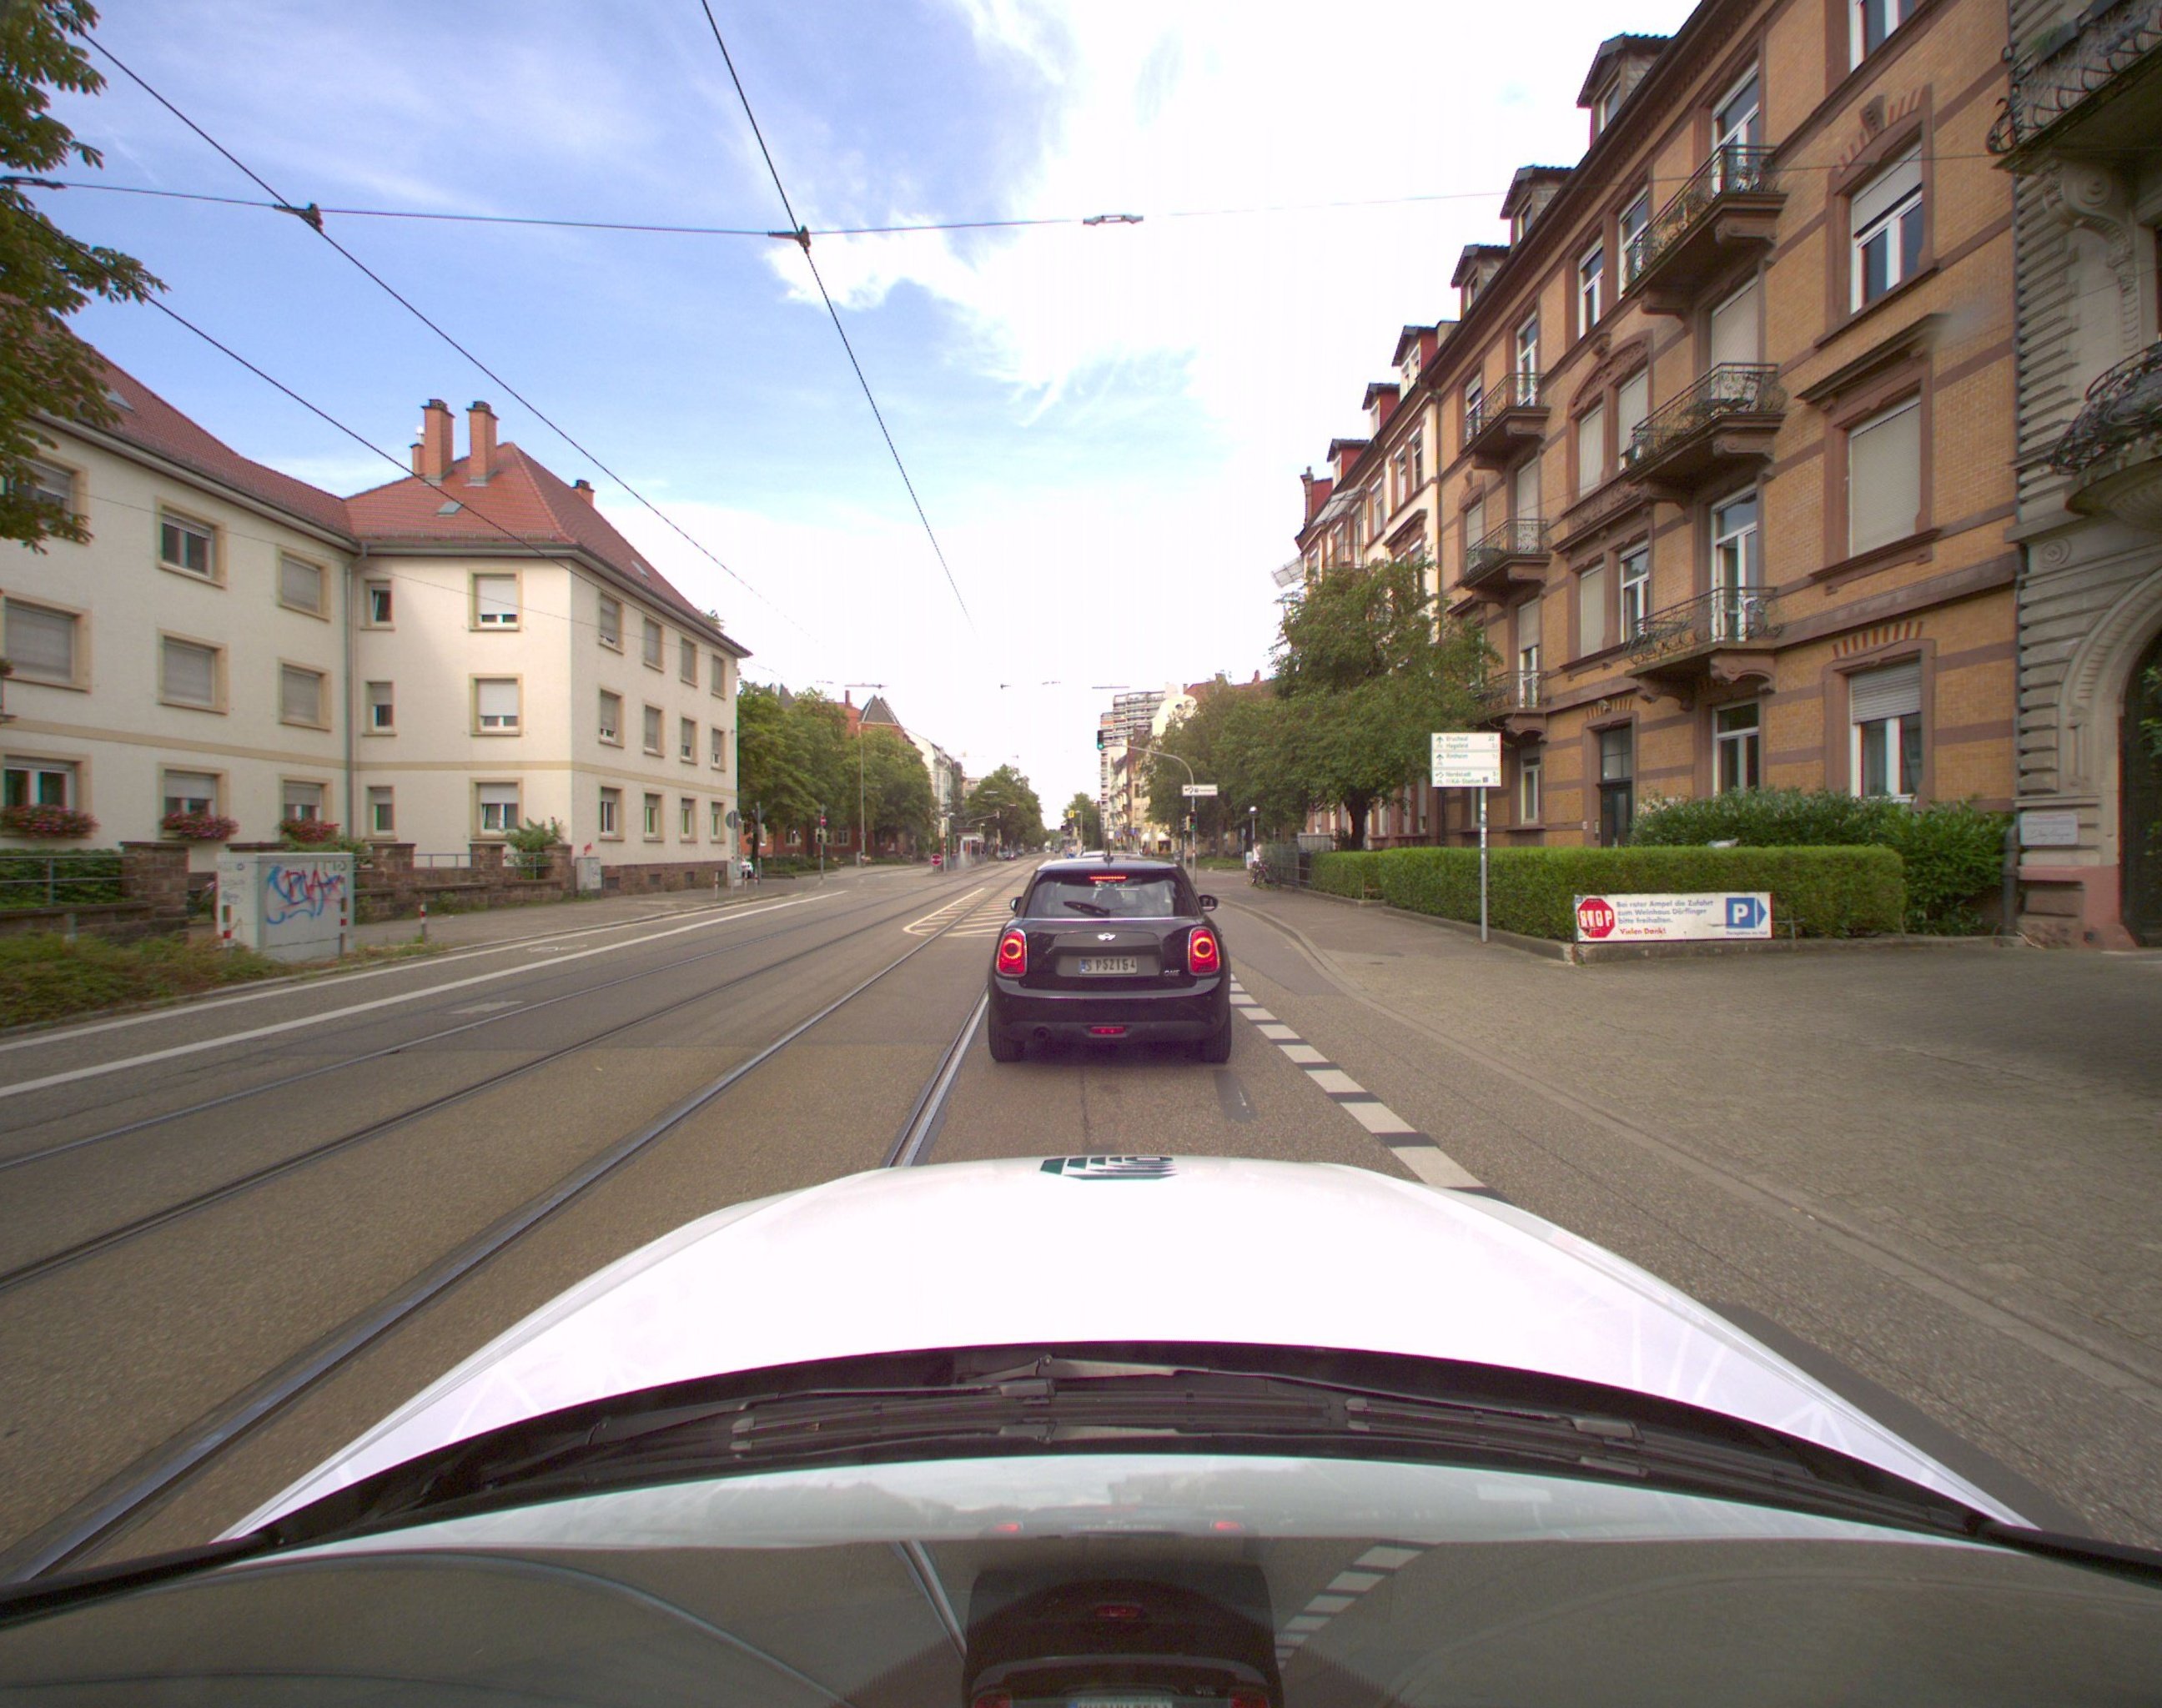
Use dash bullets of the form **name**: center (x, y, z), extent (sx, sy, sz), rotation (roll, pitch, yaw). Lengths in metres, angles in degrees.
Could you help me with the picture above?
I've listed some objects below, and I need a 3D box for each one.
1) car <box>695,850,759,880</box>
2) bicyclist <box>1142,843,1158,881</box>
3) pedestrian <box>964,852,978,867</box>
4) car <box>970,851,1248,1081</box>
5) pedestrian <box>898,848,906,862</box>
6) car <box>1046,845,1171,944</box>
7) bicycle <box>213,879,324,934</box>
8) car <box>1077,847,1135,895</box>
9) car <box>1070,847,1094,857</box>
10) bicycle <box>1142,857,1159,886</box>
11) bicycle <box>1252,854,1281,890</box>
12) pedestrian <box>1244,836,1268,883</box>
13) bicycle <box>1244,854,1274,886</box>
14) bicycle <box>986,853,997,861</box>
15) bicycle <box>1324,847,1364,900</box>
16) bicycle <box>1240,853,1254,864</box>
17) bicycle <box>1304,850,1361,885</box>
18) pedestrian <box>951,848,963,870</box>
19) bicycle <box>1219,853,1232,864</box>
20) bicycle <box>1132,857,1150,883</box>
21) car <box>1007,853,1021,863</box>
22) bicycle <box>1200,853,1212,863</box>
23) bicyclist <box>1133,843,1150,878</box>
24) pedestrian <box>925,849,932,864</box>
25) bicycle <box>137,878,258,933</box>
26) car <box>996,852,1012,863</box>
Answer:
- **car**: center (-21.806, 0.706, 50.116), extent (4.105, 1.721, 1.852), rotation (-3, -3, 38)
- **bicyclist**: center (2.871, 0.339, 33.816), extent (0.592, 1.550, 1.014), rotation (-1, 0, 1)
- **pedestrian**: center (-9.287, 0.478, 68.796), extent (1.057, 1.293, 0.984), rotation (-1, 0, -7)
- **car**: center (0.252, 0.708, 7.156), extent (1.745, 1.441, 4.002), rotation (-1, 0, 2)
- **pedestrian**: center (-21.452, 0.089, 97.640), extent (0.832, 1.703, 0.731), rotation (-1, 0, -7)
- **car**: center (0.499, 0.616, 14.595), extent (1.919, 1.510, 4.002), rotation (-1, 0, 2)
- **bicycle**: center (-15.777, 0.990, 15.877), extent (0.476, 0.915, 1.671), rotation (-1, 1, -1)
- **car**: center (0.805, 0.516, 27.206), extent (1.745, 1.441, 4.480), rotation (-1, 0, 1)
- **car**: center (0.184, -0.530, 183.853), extent (5.067, 2.272, 2.368), rotation (-1, 0, -42)
- **bicycle**: center (2.872, 0.714, 33.824), extent (0.596, 1.170, 1.697), rotation (-1, 0, 1)
- **bicycle**: center (6.062, 0.568, 26.707), extent (0.507, 1.088, 1.549), rotation (-4, 0, -1)
- **pedestrian**: center (6.724, 0.210, 31.352), extent (0.727, 1.754, 0.950), rotation (-1, 0, 3)
- **bicycle**: center (6.430, 0.562, 29.441), extent (0.669, 1.106, 1.671), rotation (-1, 0, -1)
- **bicycle**: center (-14.425, 0.483, 131.585), extent (1.681, 1.119, 0.566), rotation (-1, 0, -41)
- **bicycle**: center (6.570, 0.459, 20.396), extent (0.514, 1.282, 1.550), rotation (-1, 0, 1)
- **bicycle**: center (18.082, 0.461, 88.666), extent (0.659, 1.128, 1.905), rotation (-1, 0, 40)
- **bicycle**: center (7.426, 0.400, 24.071), extent (1.541, 1.008, 0.509), rotation (-1, 0, -4)
- **pedestrian**: center (-9.285, 0.339, 60.822), extent (0.851, 1.621, 0.841), rotation (-1, 0, -7)
- **bicycle**: center (16.111, 0.513, 90.561), extent (0.526, 1.128, 1.905), rotation (-1, 0, 40)
- **bicycle**: center (2.744, 0.716, 37.246), extent (0.681, 1.170, 1.697), rotation (-1, 0, 1)
- **car**: center (-9.844, 0.550, 119.907), extent (1.746, 1.441, 4.000), rotation (1, 0, 0)
- **bicycle**: center (14.261, 0.441, 92.840), extent (0.444, 1.055, 1.659), rotation (-1, 0, 40)
- **bicyclist**: center (2.744, 0.300, 37.189), extent (0.681, 1.564, 0.998), rotation (-1, 0, 0)
- **pedestrian**: center (-17.352, 0.311, 92.607), extent (0.692, 1.719, 0.758), rotation (-1, 0, 0)
- **bicycle**: center (-16.737, 0.949, 15.484), extent (0.476, 0.915, 1.671), rotation (-1, 0, -1)
- **car**: center (-10.622, 0.524, 112.255), extent (1.746, 1.441, 4.000), rotation (1, 0, 0)
